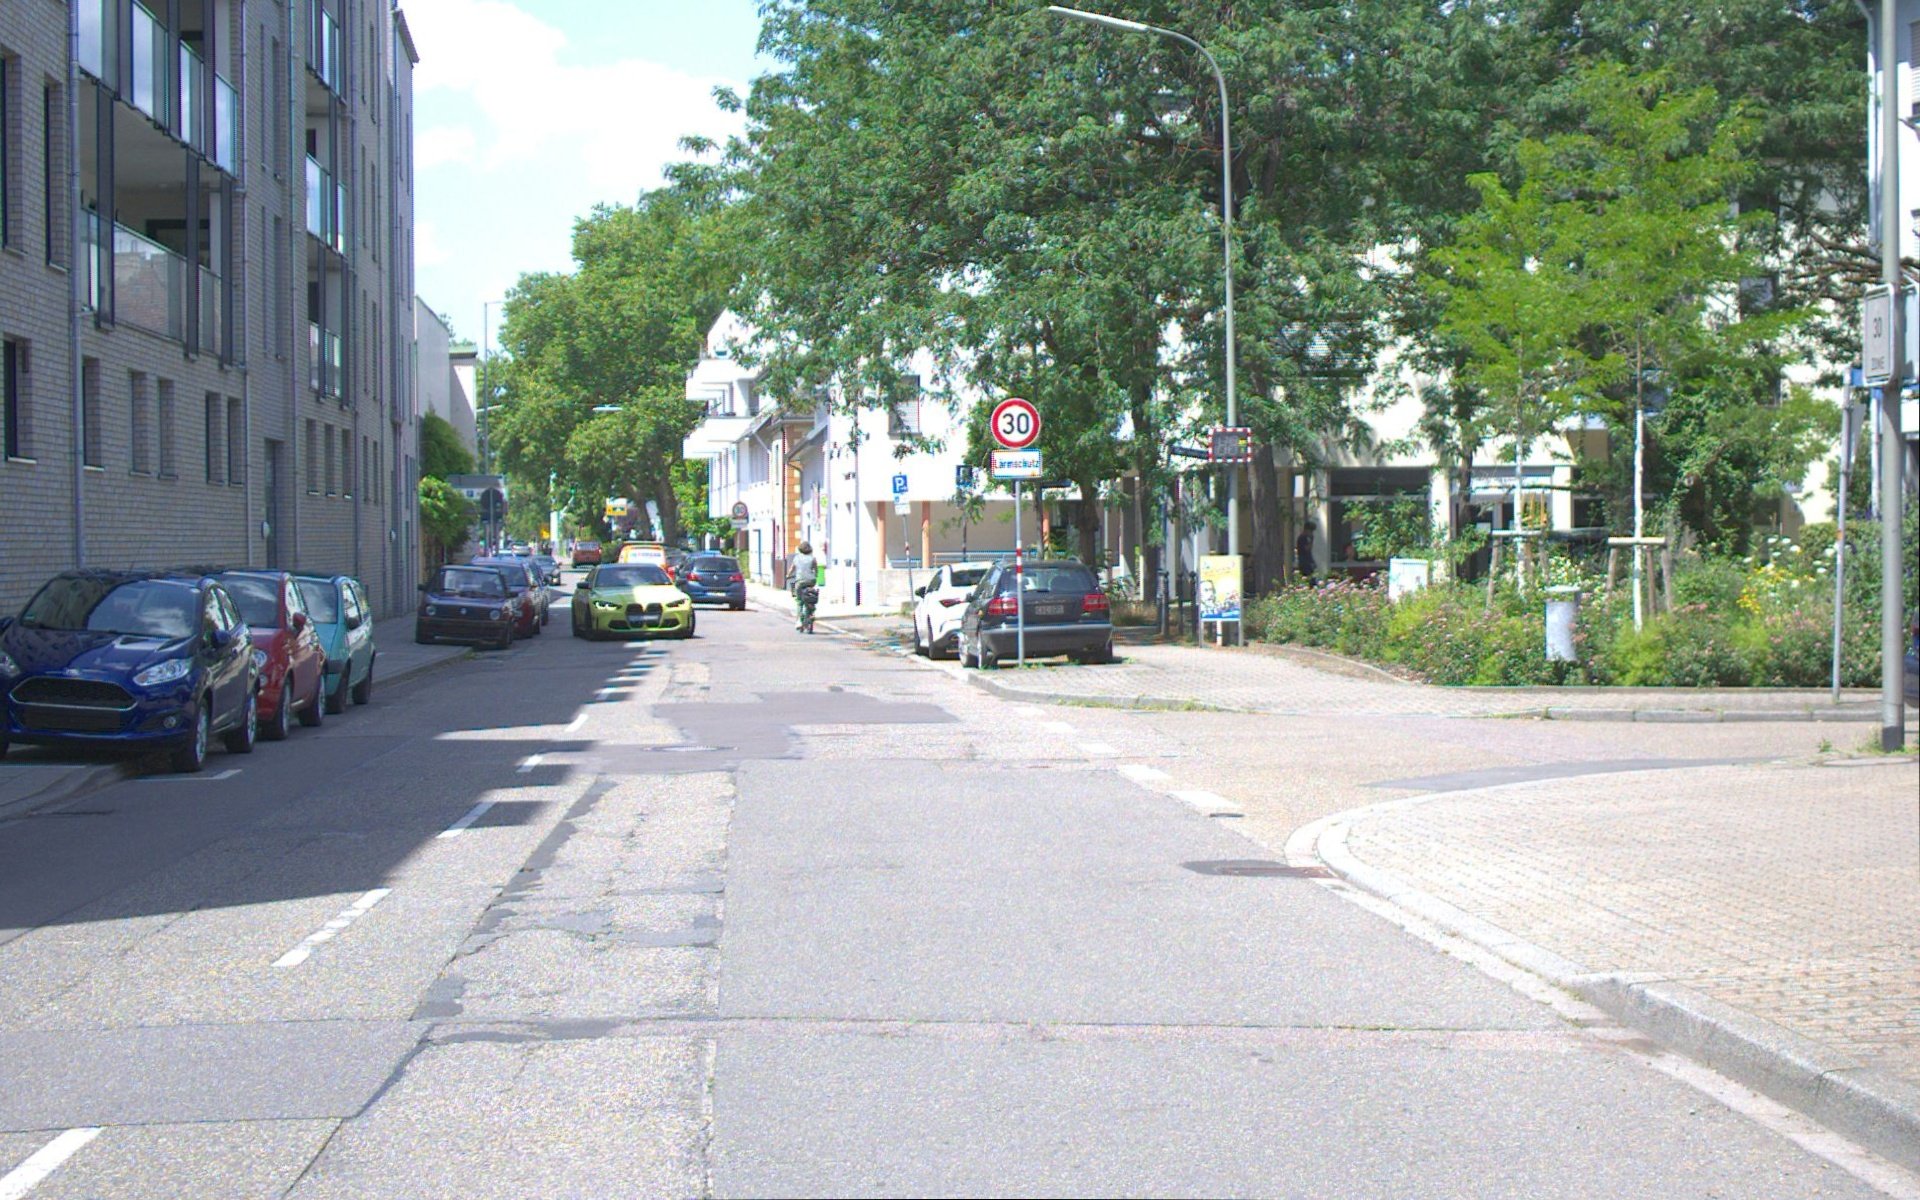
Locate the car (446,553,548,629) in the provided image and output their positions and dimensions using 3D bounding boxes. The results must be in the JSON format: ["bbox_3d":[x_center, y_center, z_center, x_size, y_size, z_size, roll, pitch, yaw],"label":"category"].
[{"bbox_3d":[-8.959,-0.190,66.793,1.732,1.437,4.001,0,1,-4],"label":"car"}]

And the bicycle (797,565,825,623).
[{"bbox_3d":[-2.904,-0.126,66.977,0.483,1.111,1.196,0,1,-5],"label":"bicycle"}]

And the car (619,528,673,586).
[{"bbox_3d":[-11.273,-1.565,123.608,1.838,2.007,4.001,0,1,-4],"label":"car"}]

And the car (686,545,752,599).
[{"bbox_3d":[-6.484,-0.778,92.720,1.715,1.397,4.001,0,1,-3],"label":"car"}]

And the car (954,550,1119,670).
[{"bbox_3d":[0.951,0.099,44.783,1.692,1.415,4.001,-2,1,-5],"label":"car"}]

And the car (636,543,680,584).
[{"bbox_3d":[-12.198,-1.485,138.640,1.711,1.628,3.705,0,1,-6],"label":"car"}]

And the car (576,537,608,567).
[{"bbox_3d":[-24.933,-3.243,232.987,2.156,2.007,4.001,0,1,-6],"label":"car"}]

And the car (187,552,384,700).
[{"bbox_3d":[-7.129,0.236,36.620,1.590,1.451,3.704,2,1,-4],"label":"car"}]

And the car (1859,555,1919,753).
[{"bbox_3d":[8.972,0.437,26.382,3.597,1.444,1.742,1,3,-4],"label":"car"}]

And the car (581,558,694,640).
[{"bbox_3d":[-6.050,-0.048,64.342,1.993,1.376,4.393,2,1,-6],"label":"car"}]

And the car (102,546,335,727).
[{"bbox_3d":[-6.736,0.294,31.504,1.590,1.548,3.571,1,1,-4],"label":"car"}]

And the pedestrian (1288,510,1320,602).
[{"bbox_3d":[7.006,-0.895,69.980,0.595,1.853,0.603,0,1,12],"label":"pedestrian"}]

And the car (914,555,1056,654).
[{"bbox_3d":[0.329,0.041,51.581,1.778,1.415,4.001,0,1,-5],"label":"car"}]

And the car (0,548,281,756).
[{"bbox_3d":[-6.461,0.349,26.697,1.723,1.451,4.006,2,1,-3],"label":"car"}]

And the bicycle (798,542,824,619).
[{"bbox_3d":[-2.905,-0.381,66.966,0.477,1.485,0.576,0,1,-5],"label":"bicycle"}]

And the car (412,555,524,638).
[{"bbox_3d":[-8.808,-0.084,61.749,1.732,1.437,4.001,0,1,-4],"label":"car"}]
